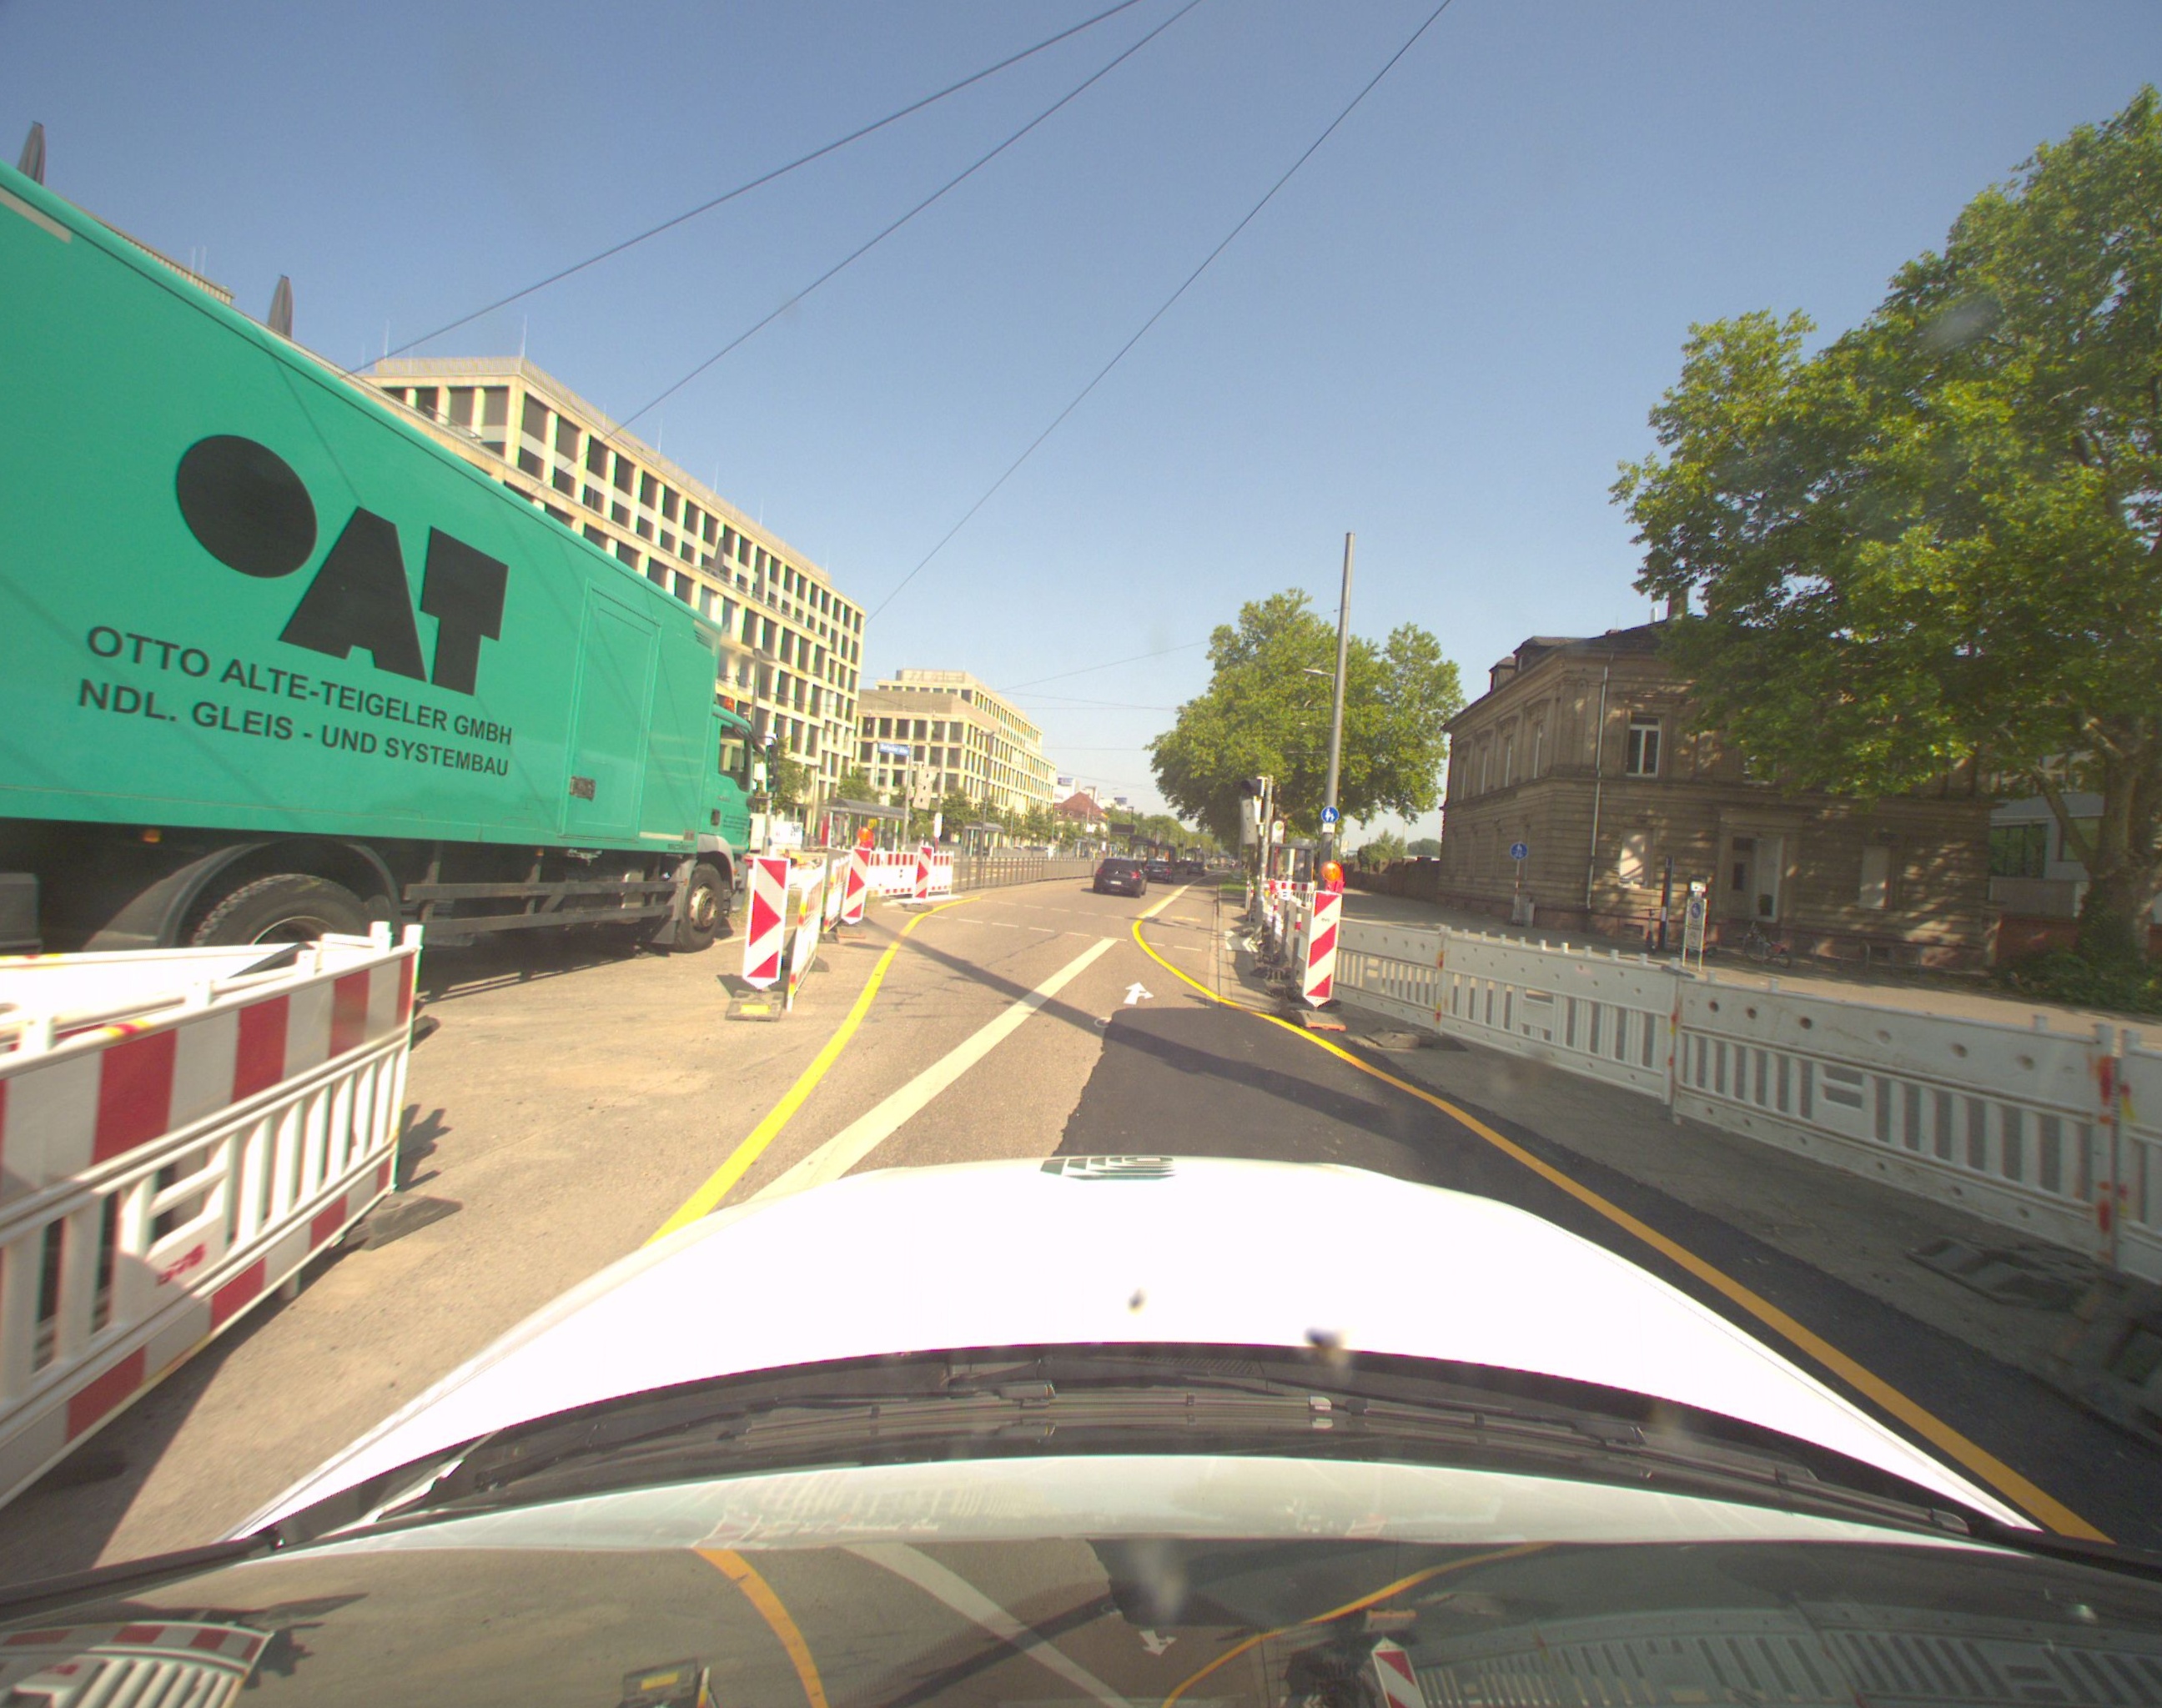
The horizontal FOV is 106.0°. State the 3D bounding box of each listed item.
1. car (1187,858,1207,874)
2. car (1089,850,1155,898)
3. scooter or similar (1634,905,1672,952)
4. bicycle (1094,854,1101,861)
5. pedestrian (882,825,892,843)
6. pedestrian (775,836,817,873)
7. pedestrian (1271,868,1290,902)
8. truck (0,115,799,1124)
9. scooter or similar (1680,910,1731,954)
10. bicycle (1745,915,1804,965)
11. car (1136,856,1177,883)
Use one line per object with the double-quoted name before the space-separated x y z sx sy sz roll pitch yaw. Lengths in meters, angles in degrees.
"car" 12.375 1.288 86.690 1.896 1.537 4.011 4 0 10
"car" 1.646 0.730 31.319 1.896 1.537 4.011 6 0 10
"scooter or similar" 16.022 2.070 22.832 0.406 1.166 1.231 4 0 15
"bicycle" 2.547 0.547 128.318 0.467 1.147 1.492 4 0 26
"pedestrian" -21.157 -2.184 88.969 0.789 1.917 0.839 1 -2 5
"pedestrian" -7.991 0.013 22.880 0.696 0.955 0.884 4 0 11
"pedestrian" 7.934 1.225 32.348 0.605 1.277 0.761 3 0 8
"truck" -5.416 -0.954 6.505 2.798 3.788 9.018 3 1 1
"scooter or similar" 17.504 2.188 22.828 1.086 1.132 0.313 4 0 7
"bicycle" 18.738 2.312 22.041 0.494 1.166 1.635 4 0 15
"car" 4.807 0.963 51.257 1.980 1.441 4.014 4 0 13
